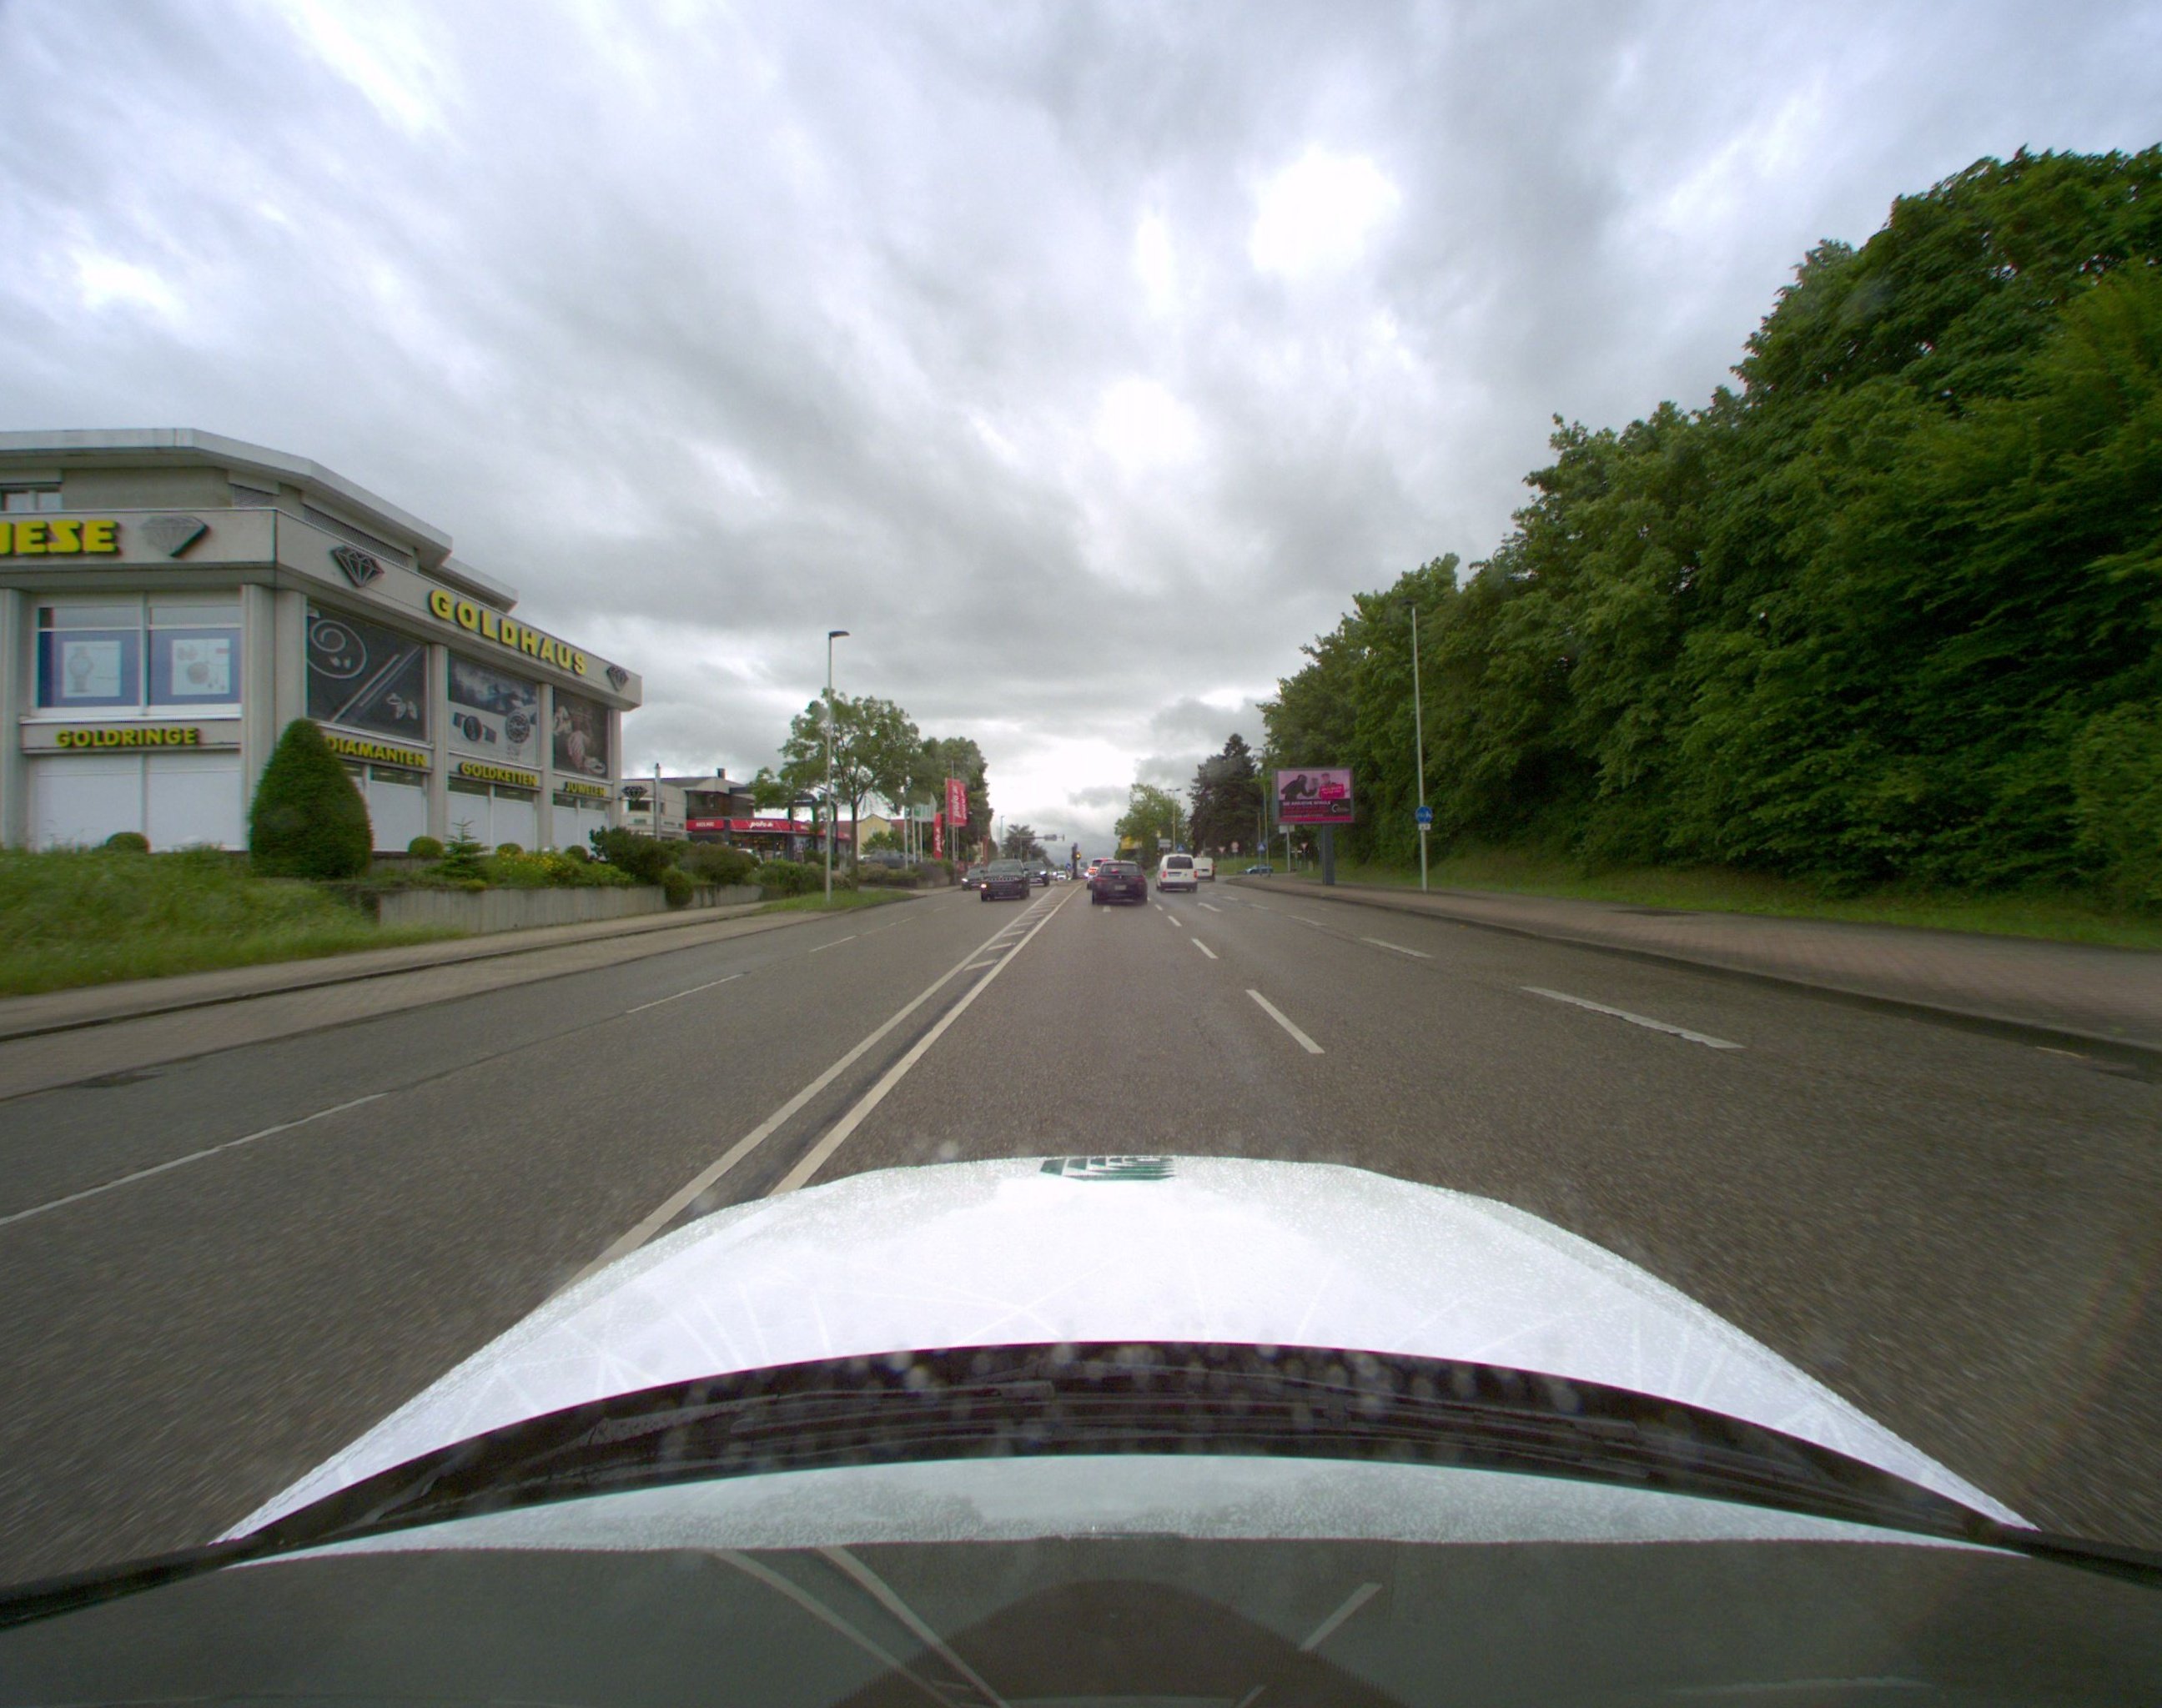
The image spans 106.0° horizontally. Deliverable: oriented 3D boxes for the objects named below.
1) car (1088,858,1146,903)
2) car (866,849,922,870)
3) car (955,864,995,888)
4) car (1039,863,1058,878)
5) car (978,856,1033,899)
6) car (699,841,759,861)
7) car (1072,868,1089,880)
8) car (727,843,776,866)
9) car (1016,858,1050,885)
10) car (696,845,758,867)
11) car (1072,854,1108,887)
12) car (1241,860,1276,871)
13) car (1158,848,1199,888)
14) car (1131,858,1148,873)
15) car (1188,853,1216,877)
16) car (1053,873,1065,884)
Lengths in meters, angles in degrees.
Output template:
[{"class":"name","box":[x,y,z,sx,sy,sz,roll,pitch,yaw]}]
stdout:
[{"class":"car","box":[1.288,0.853,28.074,1.847,1.419,3.961,0,0,4]},{"class":"car","box":[-13.997,0.436,61.022,3.821,1.482,1.738,-1,-1,-6]},{"class":"car","box":[-6.805,1.380,52.619,1.786,1.401,4.302,-3,0,2]},{"class":"car","box":[-3.275,1.694,82.589,1.662,1.398,3.998,-3,-1,-1]},{"class":"car","box":[-3.064,0.919,33.882,1.789,1.584,4.198,-2,0,0]},{"class":"car","box":[-27.996,-0.219,64.839,3.972,1.512,1.876,-2,-1,4]},{"class":"car","box":[-0.026,2.407,97.999,1.890,1.456,4.093,-2,-2,-2]},{"class":"car","box":[-23.320,0.050,57.792,1.668,1.512,4.004,-3,-1,2]},{"class":"car","box":[-3.121,1.132,53.717,1.816,1.607,4.284,-3,-1,1]},{"class":"car","box":[-26.532,0.161,61.135,3.819,1.482,1.872,-1,-1,-4]},{"class":"car","box":[0.530,0.888,44.436,1.720,1.711,3.387,0,0,5]},{"class":"car","box":[22.635,1.467,103.894,3.997,1.294,1.599,-3,0,-17]},{"class":"car","box":[4.690,0.677,39.625,1.734,1.869,3.949,0,-1,3]},{"class":"car","box":[5.904,1.180,81.837,1.594,1.372,3.683,-2,0,3]},{"class":"car","box":[9.408,0.841,63.569,1.806,1.708,3.949,-2,0,3]},{"class":"car","box":[-3.837,4.207,140.552,1.852,1.823,4.578,-3,-2,0]}]
